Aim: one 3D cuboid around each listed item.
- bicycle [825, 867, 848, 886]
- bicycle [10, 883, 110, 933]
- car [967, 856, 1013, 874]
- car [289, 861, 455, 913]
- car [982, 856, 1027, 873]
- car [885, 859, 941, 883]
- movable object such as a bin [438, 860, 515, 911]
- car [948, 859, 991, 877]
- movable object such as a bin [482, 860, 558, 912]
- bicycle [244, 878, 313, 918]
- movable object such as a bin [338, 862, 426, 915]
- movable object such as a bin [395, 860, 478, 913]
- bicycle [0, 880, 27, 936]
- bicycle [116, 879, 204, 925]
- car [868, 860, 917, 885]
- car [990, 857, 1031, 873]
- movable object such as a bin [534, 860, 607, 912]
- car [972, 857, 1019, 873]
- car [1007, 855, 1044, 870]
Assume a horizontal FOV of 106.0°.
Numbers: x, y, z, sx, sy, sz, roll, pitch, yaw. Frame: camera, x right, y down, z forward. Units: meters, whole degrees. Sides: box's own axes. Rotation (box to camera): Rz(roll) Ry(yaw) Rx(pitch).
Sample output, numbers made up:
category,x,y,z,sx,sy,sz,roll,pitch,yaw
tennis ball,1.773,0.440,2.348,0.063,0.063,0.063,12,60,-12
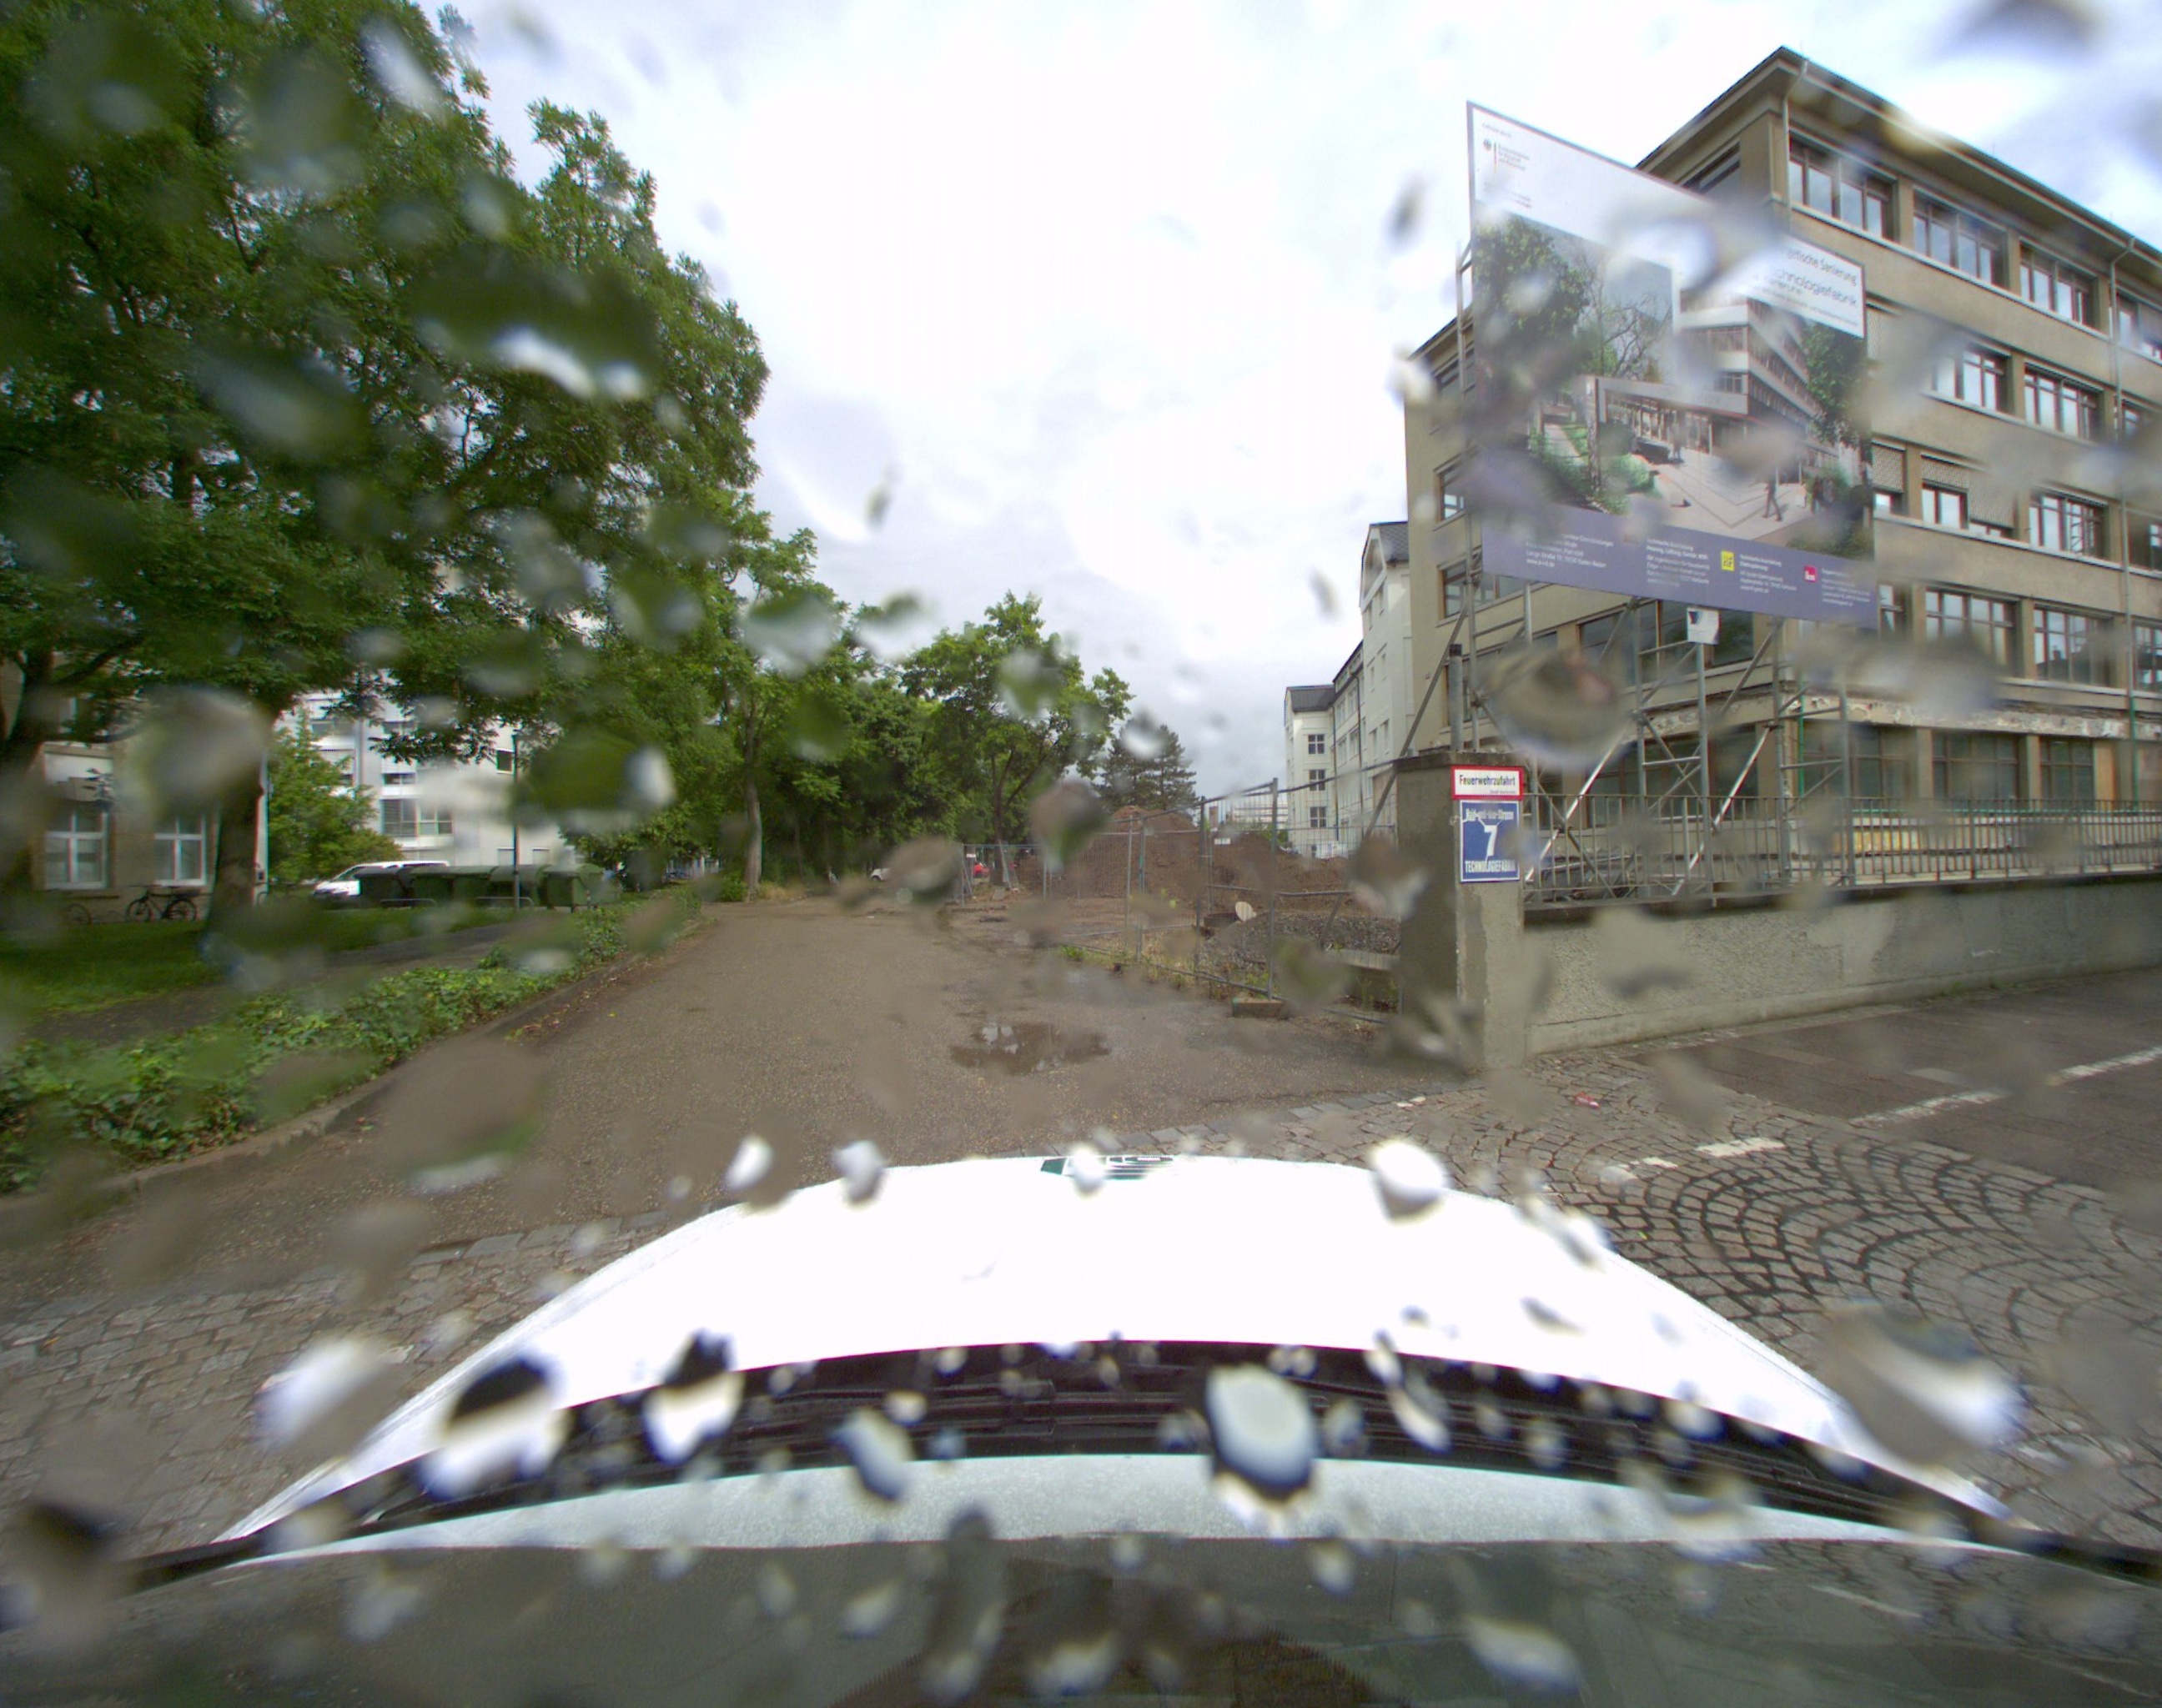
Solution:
category,x,y,z,sx,sy,sz,roll,pitch,yaw
bicycle,-11.879,1.094,39.617,0.473,0.860,1.459,0,1,8
bicycle,-24.548,1.289,19.588,1.772,1.116,0.618,-2,0,7
car,-8.203,0.995,73.574,3.771,1.529,1.914,0,1,8
car,-28.950,1.294,33.506,2.080,1.926,4.902,-2,-1,10
car,-7.420,1.023,79.112,4.091,1.650,1.848,0,1,2
car,-11.089,1.095,53.944,3.426,1.468,1.738,-1,1,-5
movable object such as a bin,-17.914,0.924,24.173,1.392,1.483,1.169,-1,-1,3
car,-9.407,1.150,68.990,3.263,1.425,1.597,0,1,10
movable object such as a bin,-16.513,0.929,23.998,1.393,1.483,1.168,0,-1,1
bicycle,-23.968,1.320,24.329,1.507,1.116,0.618,-2,0,7
movable object such as a bin,-20.974,1.009,24.469,1.583,1.483,1.169,-2,1,2
movable object such as a bin,-19.353,0.972,24.502,1.486,1.483,1.169,-2,1,2
bicycle,-24.715,1.226,18.118,1.910,1.224,0.618,-2,0,7
bicycle,-24.410,1.262,21.586,1.772,1.116,0.618,-2,0,7
car,-11.921,1.138,51.583,2.749,1.484,1.590,-1,1,-5
car,-7.072,1.105,81.767,3.925,1.517,1.808,0,1,3
movable object such as a bin,-14.988,0.924,23.913,1.469,1.473,1.109,-2,-2,17
car,-7.905,1.014,75.762,3.965,1.496,1.998,0,1,7
car,-6.109,0.966,89.792,3.840,1.573,1.960,0,1,3
